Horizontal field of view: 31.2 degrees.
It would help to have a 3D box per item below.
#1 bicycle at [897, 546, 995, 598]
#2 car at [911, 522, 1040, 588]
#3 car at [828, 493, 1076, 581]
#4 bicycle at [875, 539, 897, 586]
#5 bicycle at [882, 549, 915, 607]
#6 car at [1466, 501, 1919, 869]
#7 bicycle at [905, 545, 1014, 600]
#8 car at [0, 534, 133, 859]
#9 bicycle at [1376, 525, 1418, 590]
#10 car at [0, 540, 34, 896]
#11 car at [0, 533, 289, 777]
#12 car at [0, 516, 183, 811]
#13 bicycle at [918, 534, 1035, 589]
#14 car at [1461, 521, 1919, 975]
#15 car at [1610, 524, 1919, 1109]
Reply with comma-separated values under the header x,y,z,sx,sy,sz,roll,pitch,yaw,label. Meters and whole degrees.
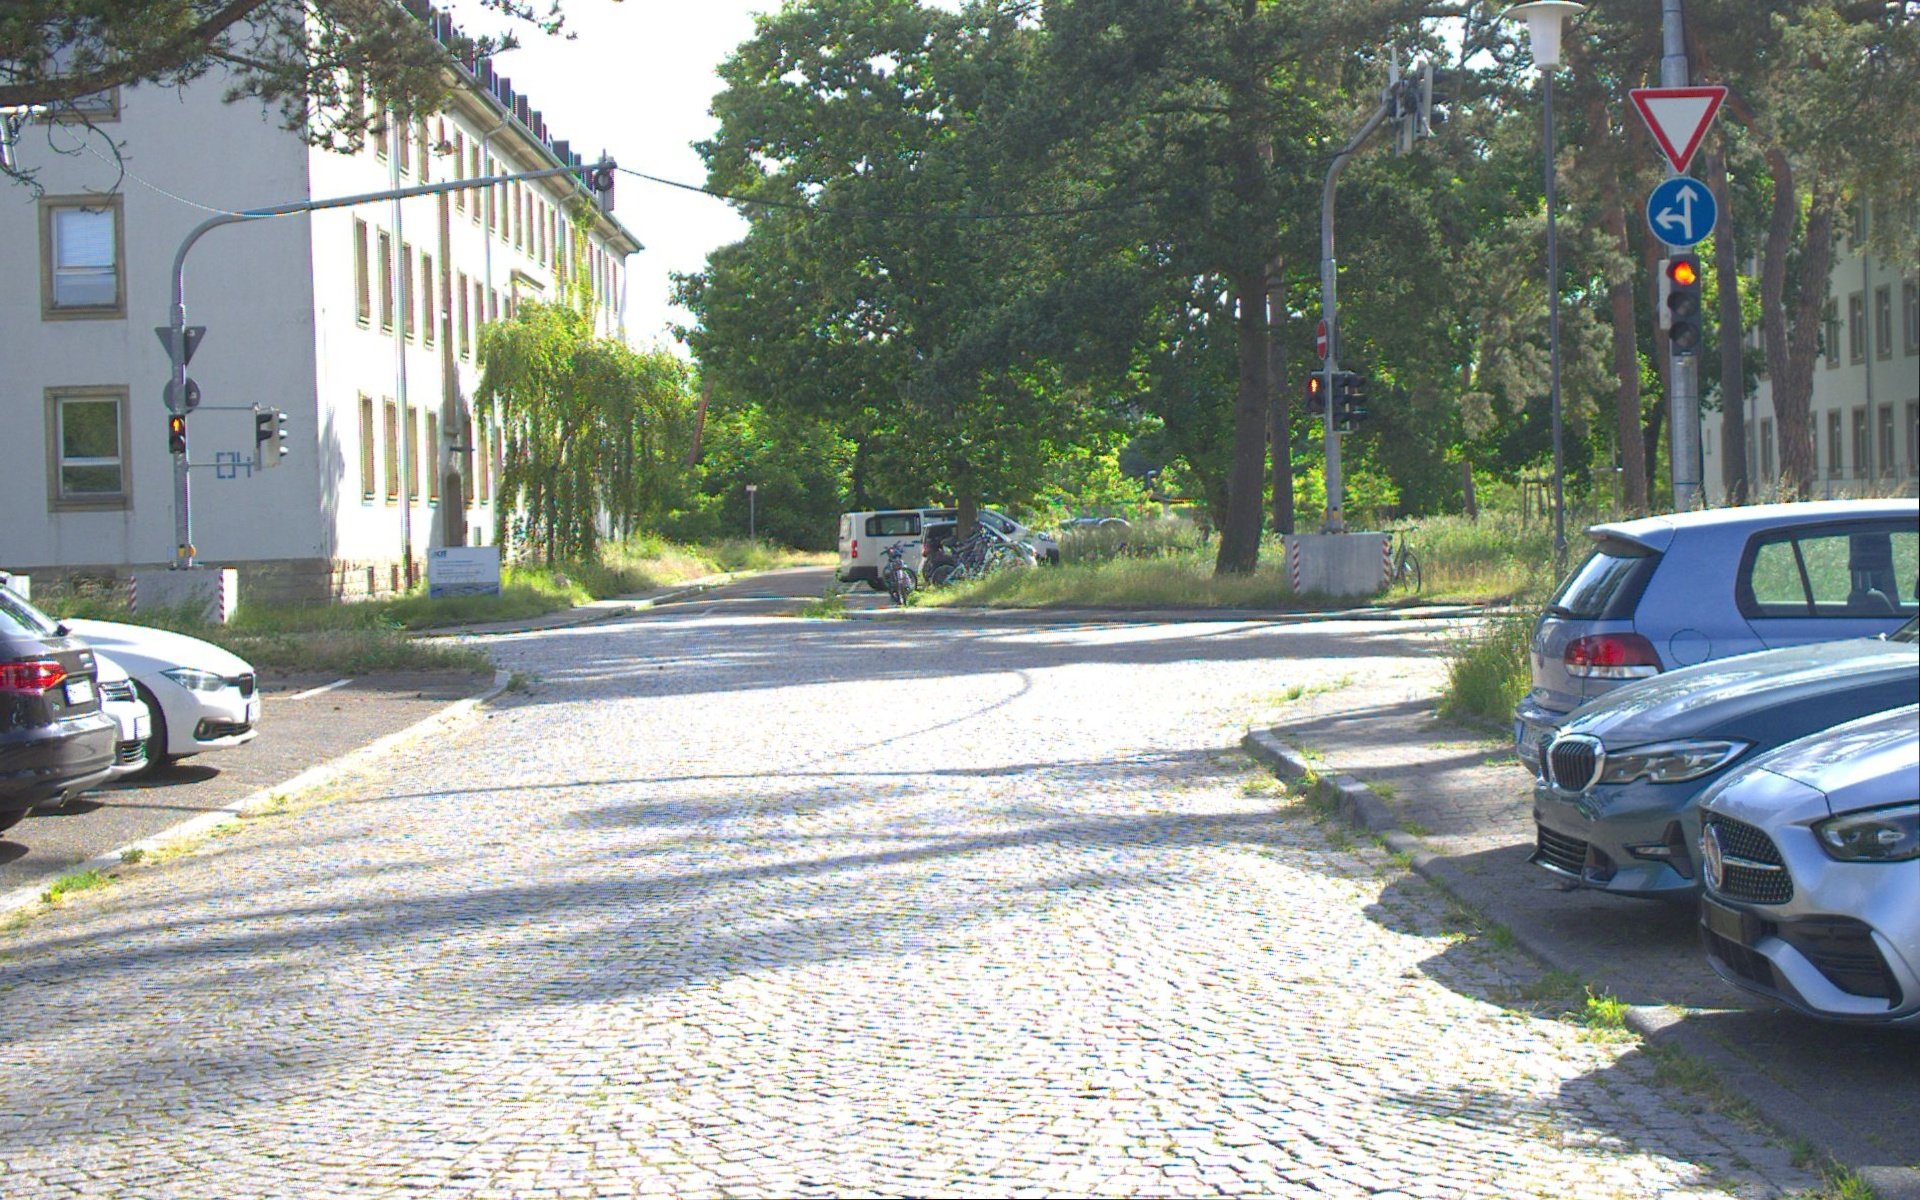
x,y,z,sx,sy,sz,roll,pitch,yaw,label
-0.281,-0.550,67.326,1.837,1.006,0.636,1,1,-8,bicycle
0.337,-1.025,78.328,2.781,1.462,1.671,1,1,-5,car
-0.194,-1.484,81.839,5.520,2.007,2.001,0,1,-18,car
-1.578,-0.802,73.508,0.417,1.006,1.483,1,1,0,bicycle
-1.081,-0.394,60.270,0.467,1.006,1.586,1,1,-4,bicycle
4.296,0.283,14.996,3.882,1.410,1.637,-3,2,0,car
-0.008,-0.525,65.571,2.004,1.006,0.632,1,1,-8,bicycle
-6.194,0.409,16.662,3.986,1.475,1.803,1,2,-3,car
6.575,-0.636,51.766,0.300,0.957,1.586,1,1,-4,bicycle
-5.871,0.485,14.083,3.746,1.482,1.646,1,2,-3,car
-6.606,0.310,21.987,4.333,1.463,1.831,1,2,-3,car
-6.661,0.310,19.621,4.080,1.588,1.886,1,2,-3,car
0.302,-0.718,63.930,2.109,1.006,0.621,1,1,-8,bicycle
4.210,0.404,12.218,4.559,1.410,1.637,-3,2,0,car
4.210,0.437,9.501,4.432,1.410,1.781,-3,2,0,car
